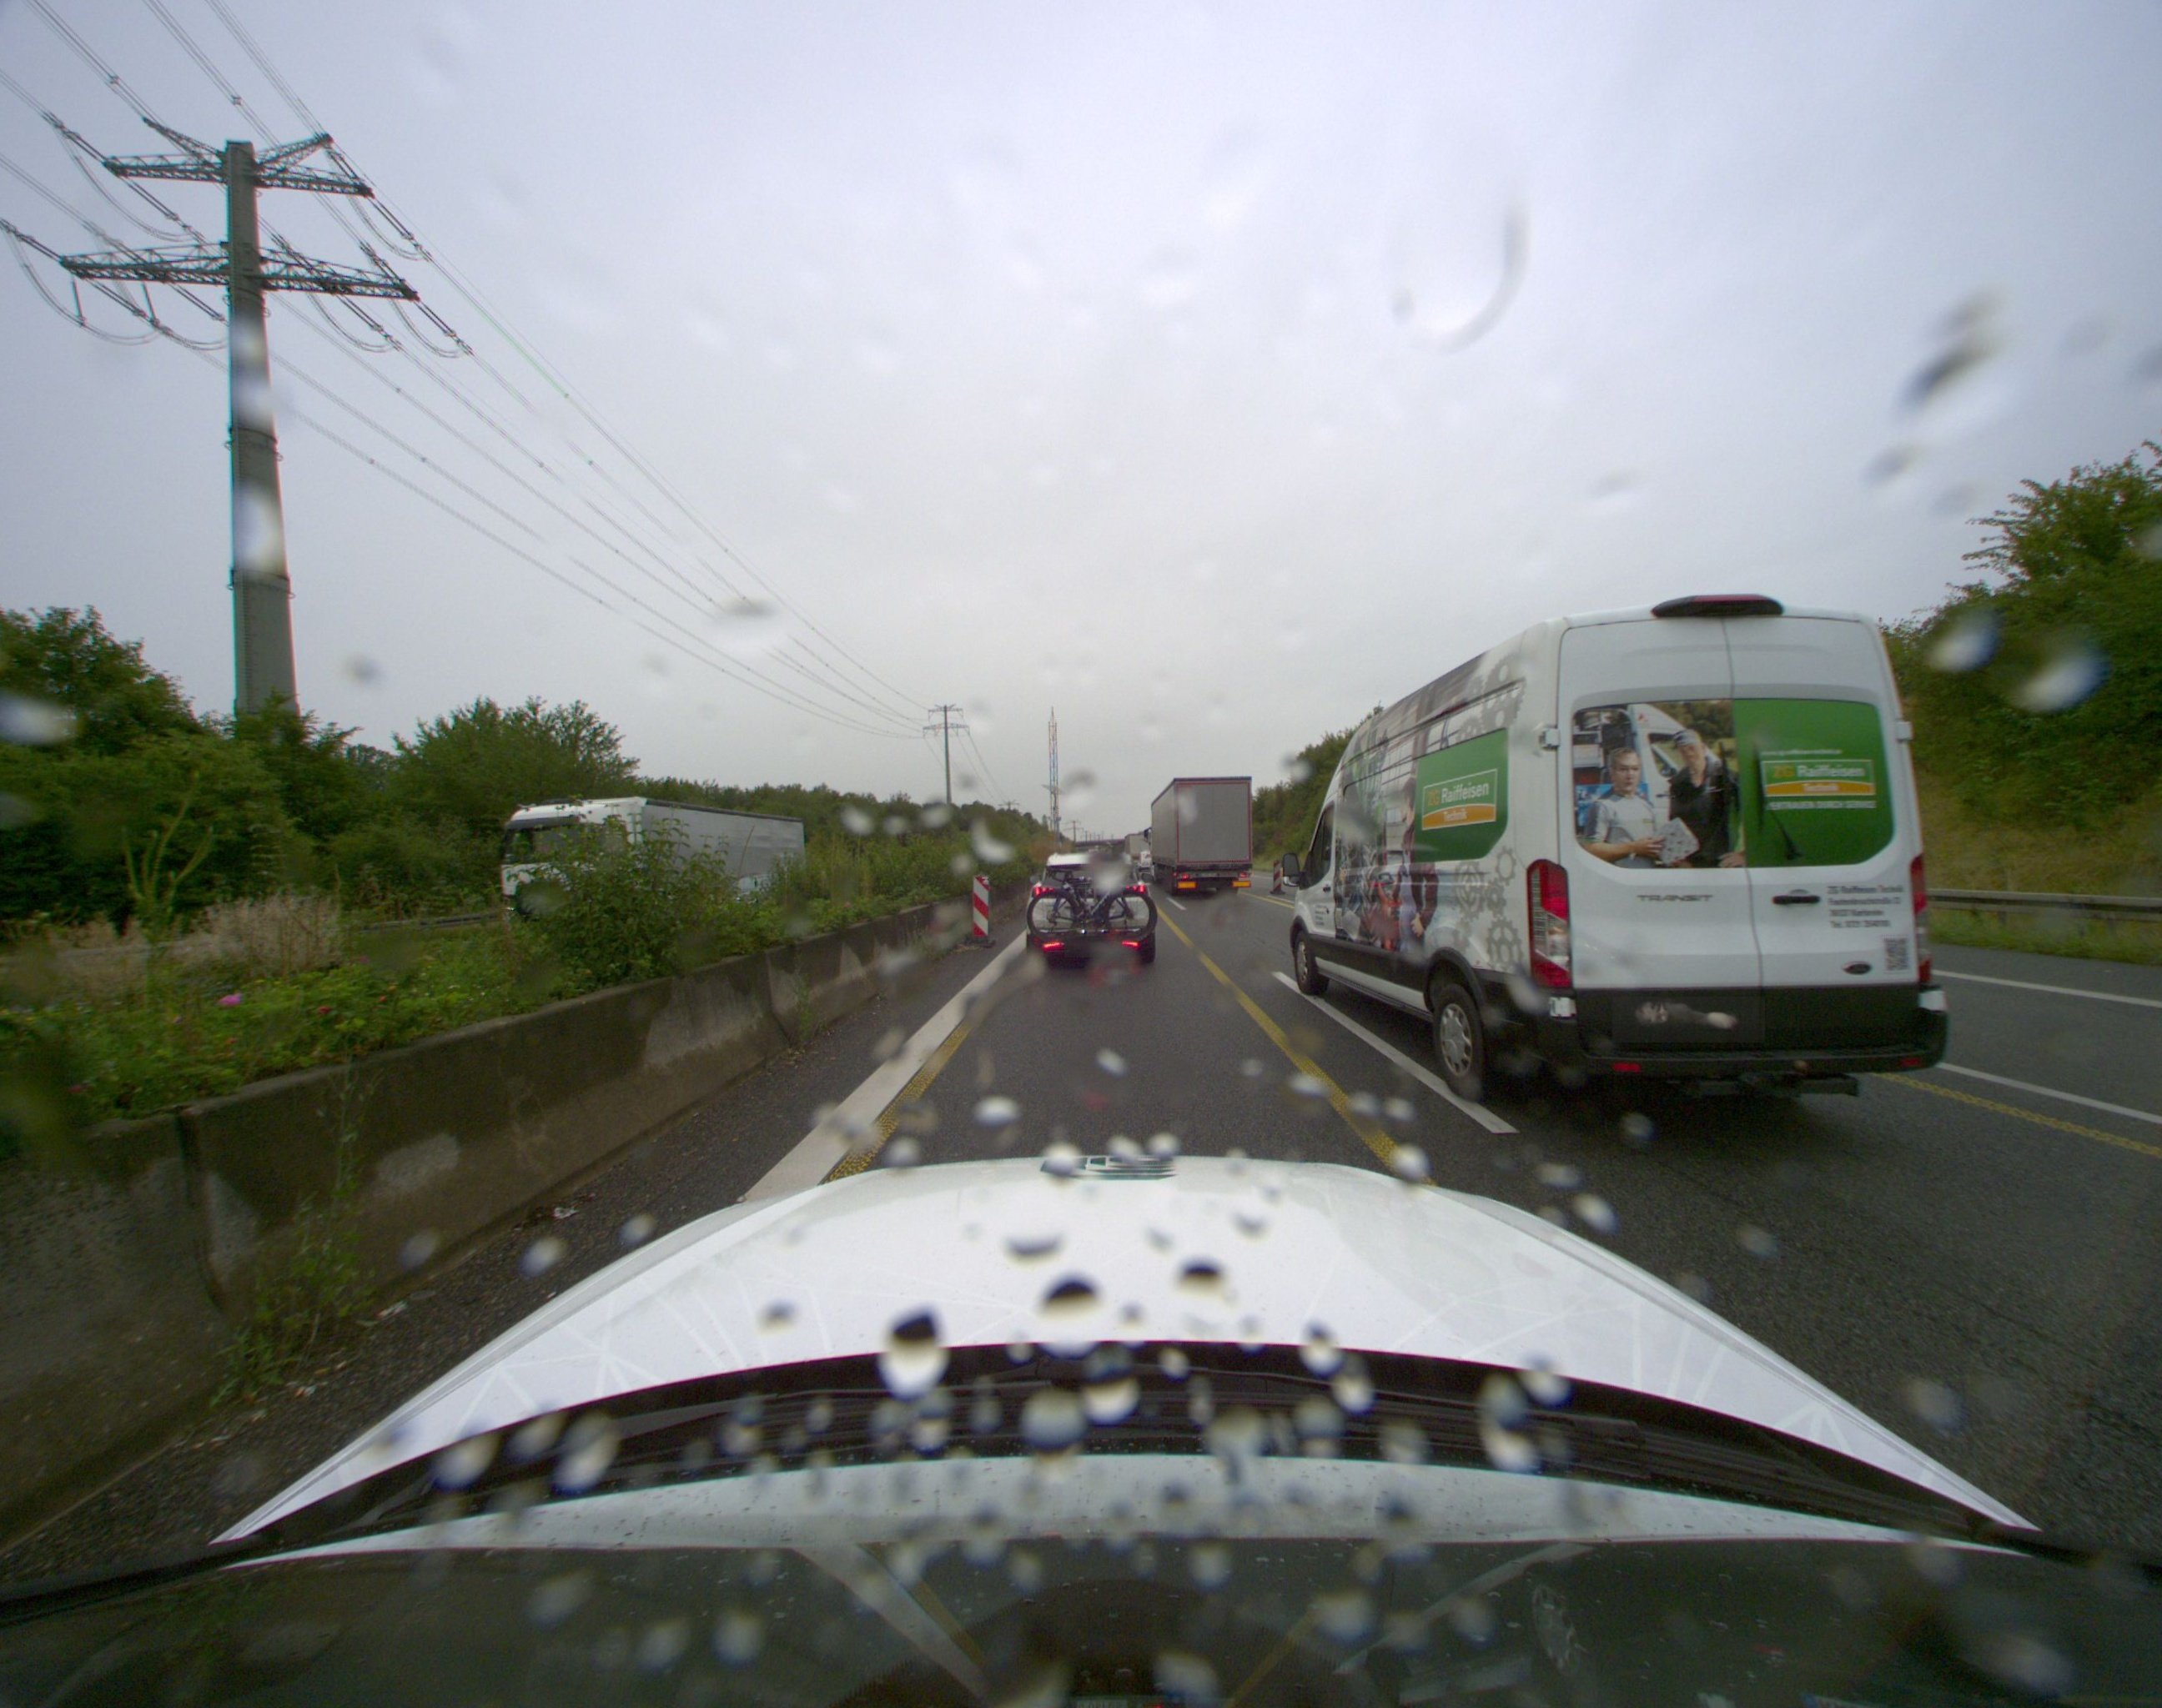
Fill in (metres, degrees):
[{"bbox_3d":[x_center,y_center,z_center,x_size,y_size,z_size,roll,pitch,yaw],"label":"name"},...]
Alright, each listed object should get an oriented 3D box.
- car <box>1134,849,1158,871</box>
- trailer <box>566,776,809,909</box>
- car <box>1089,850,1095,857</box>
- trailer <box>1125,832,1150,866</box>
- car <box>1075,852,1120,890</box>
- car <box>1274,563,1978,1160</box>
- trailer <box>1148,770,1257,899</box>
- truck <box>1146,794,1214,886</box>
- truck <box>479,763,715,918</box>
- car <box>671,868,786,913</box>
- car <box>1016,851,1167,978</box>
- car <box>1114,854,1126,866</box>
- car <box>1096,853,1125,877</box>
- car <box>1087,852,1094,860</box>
[{"bbox_3d":[5.689,0.539,71.931,1.822,1.839,4.657,-1,0,1],"label":"car"},{"bbox_3d":[-14.684,-0.349,32.415,2.776,4.023,13.253,-4,0,1],"label":"trailer"},{"bbox_3d":[3.400,-0.097,252.363,1.924,1.910,4.002,-1,1,1],"label":"car"},{"bbox_3d":[7.312,-0.640,106.884,2.683,4.076,13.638,-1,0,2],"label":"trailer"},{"bbox_3d":[0.731,0.692,35.241,1.843,1.531,4.001,-1,0,1],"label":"car"},{"bbox_3d":[3.266,0.030,6.742,1.987,2.782,5.757,-1,0,1],"label":"car"},{"bbox_3d":[4.514,-0.631,33.341,2.696,4.146,13.736,-1,0,2],"label":"trailer"},{"bbox_3d":[4.749,-0.641,40.094,2.696,4.138,5.692,-1,0,1],"label":"truck"},{"bbox_3d":[-14.840,-0.356,25.828,2.776,4.023,7.234,-4,0,1],"label":"truck"},{"bbox_3d":[-10.754,1.073,25.163,1.669,1.208,4.002,-1,0,2],"label":"car"},{"bbox_3d":[0.198,0.752,12.452,1.843,1.531,4.770,-1,0,1],"label":"car"},{"bbox_3d":[7.144,1.094,150.247,2.102,1.973,4.002,-1,1,1],"label":"car"},{"bbox_3d":[1.972,0.717,54.954,1.843,1.531,4.001,-1,0,1],"label":"car"},{"bbox_3d":[2.645,0.574,234.230,1.924,1.973,4.002,-1,1,1],"label":"car"}]
